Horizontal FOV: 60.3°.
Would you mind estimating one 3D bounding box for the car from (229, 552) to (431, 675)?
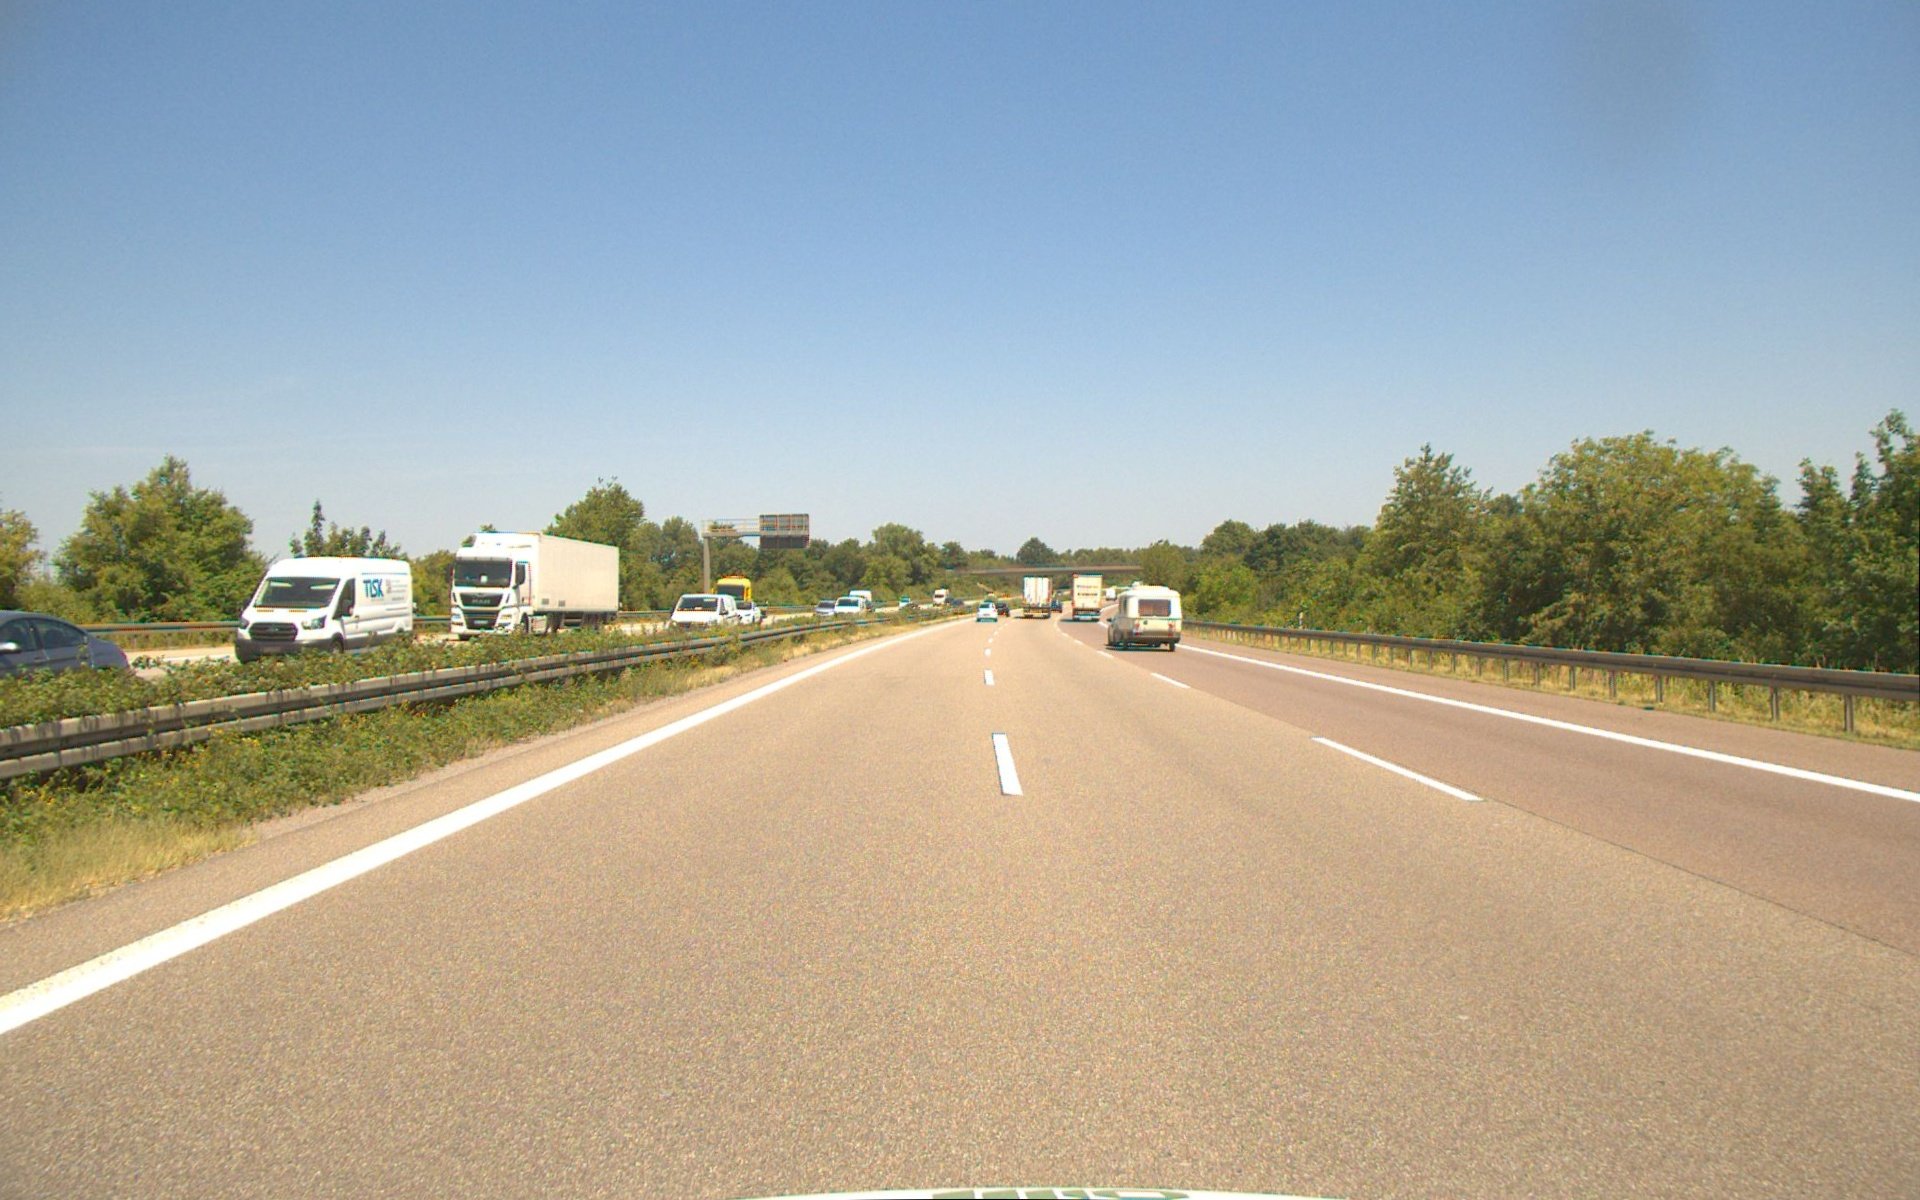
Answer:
[{"bbox_3d":[-14.124,0.290,37.598,1.952,2.514,6.491,1,0,1],"label":"car"}]

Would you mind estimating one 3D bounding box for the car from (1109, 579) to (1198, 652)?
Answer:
[{"bbox_3d":[6.737,0.473,58.180,2.393,2.362,5.321,-1,1,-1],"label":"car"}]

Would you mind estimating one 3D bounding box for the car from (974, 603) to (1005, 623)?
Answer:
[{"bbox_3d":[2.466,1.061,137.658,1.789,1.574,4.323,1,1,12],"label":"car"}]

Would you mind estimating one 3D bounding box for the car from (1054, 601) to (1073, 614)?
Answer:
[{"bbox_3d":[13.381,0.915,213.600,1.789,1.574,4.323,1,1,12],"label":"car"}]

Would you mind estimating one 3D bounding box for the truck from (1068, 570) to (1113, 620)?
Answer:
[{"bbox_3d":[12.158,-0.570,152.517,3.113,4.379,16.031,1,1,8],"label":"truck"}]

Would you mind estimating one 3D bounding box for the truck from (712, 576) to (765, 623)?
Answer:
[{"bbox_3d":[-15.867,-0.042,119.166,2.469,3.207,9.667,0,0,0],"label":"truck"}]

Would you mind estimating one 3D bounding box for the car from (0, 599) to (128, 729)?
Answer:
[{"bbox_3d":[-11.404,0.715,18.299,1.952,1.350,4.773,1,1,1],"label":"car"}]

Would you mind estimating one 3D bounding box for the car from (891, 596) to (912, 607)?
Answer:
[{"bbox_3d":[-7.916,0.181,224.109,1.951,1.483,4.091,0,0,10],"label":"car"}]

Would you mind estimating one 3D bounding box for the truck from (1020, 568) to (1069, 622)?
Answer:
[{"bbox_3d":[8.558,-0.604,165.202,3.588,5.105,16.031,1,1,7],"label":"truck"}]

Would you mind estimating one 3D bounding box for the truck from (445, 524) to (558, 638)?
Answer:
[{"bbox_3d":[-17.422,-0.669,63.151,2.772,4.153,5.165,1,0,0],"label":"truck"}]

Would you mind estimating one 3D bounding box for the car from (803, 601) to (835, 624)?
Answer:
[{"bbox_3d":[-10.848,0.957,127.436,1.952,1.766,4.815,0,0,1],"label":"car"}]

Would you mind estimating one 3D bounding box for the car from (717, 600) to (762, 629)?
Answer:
[{"bbox_3d":[-12.667,0.822,95.262,1.952,1.575,4.727,0,0,0],"label":"car"}]

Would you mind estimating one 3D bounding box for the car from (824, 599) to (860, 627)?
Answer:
[{"bbox_3d":[-8.187,0.894,115.347,1.952,1.915,5.722,0,0,1],"label":"car"}]

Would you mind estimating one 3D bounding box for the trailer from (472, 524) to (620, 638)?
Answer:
[{"bbox_3d":[-17.378,-0.717,70.569,2.776,4.332,13.637,1,0,0],"label":"trailer"}]

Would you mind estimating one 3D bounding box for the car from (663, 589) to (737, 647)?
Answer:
[{"bbox_3d":[-9.697,0.631,62.031,1.953,1.973,5.337,1,1,-1],"label":"car"}]

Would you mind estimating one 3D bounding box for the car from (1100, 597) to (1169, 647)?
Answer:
[{"bbox_3d":[6.696,0.814,64.044,2.003,1.687,5.509,0,1,-1],"label":"car"}]
